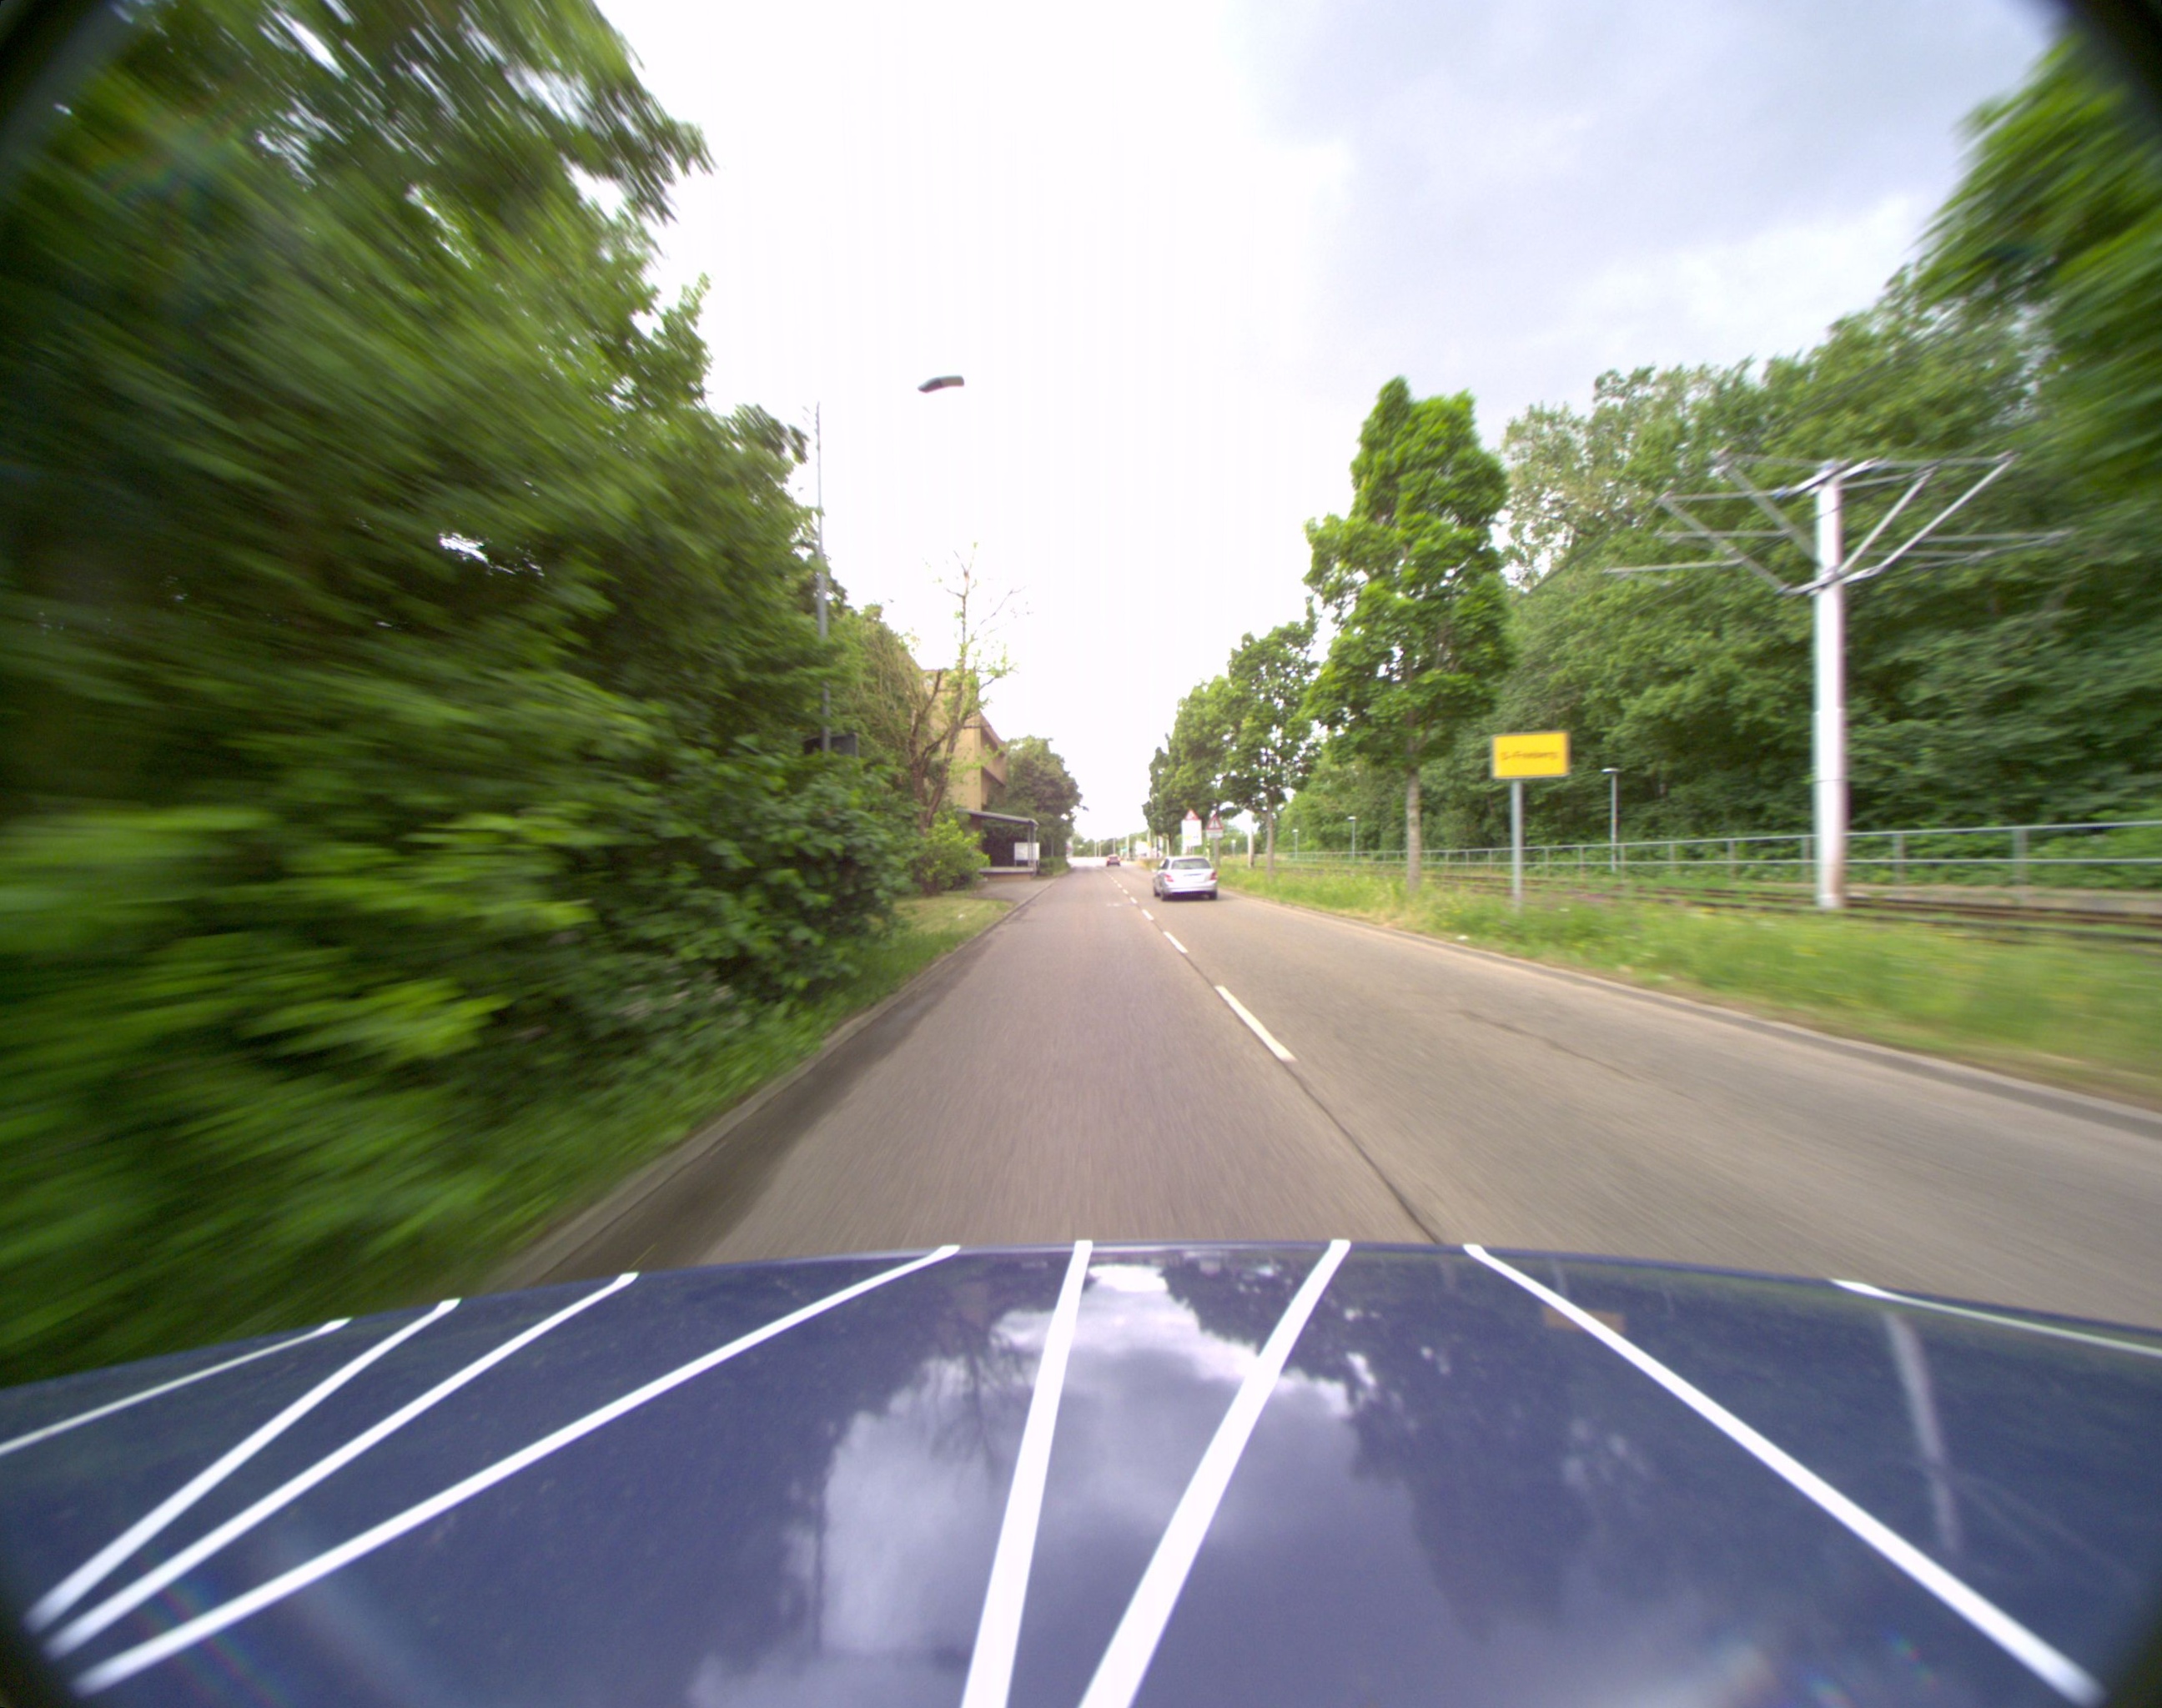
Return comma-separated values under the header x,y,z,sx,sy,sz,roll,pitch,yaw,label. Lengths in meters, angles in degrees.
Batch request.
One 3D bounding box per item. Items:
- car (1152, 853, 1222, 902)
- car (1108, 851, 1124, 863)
x,y,z,sx,sy,sz,roll,pitch,yaw,label
3.430,0.724,25.321,1.778,1.460,4.242,-2,0,1,car
4.634,0.335,101.146,2.038,1.508,3.654,-2,0,1,car
